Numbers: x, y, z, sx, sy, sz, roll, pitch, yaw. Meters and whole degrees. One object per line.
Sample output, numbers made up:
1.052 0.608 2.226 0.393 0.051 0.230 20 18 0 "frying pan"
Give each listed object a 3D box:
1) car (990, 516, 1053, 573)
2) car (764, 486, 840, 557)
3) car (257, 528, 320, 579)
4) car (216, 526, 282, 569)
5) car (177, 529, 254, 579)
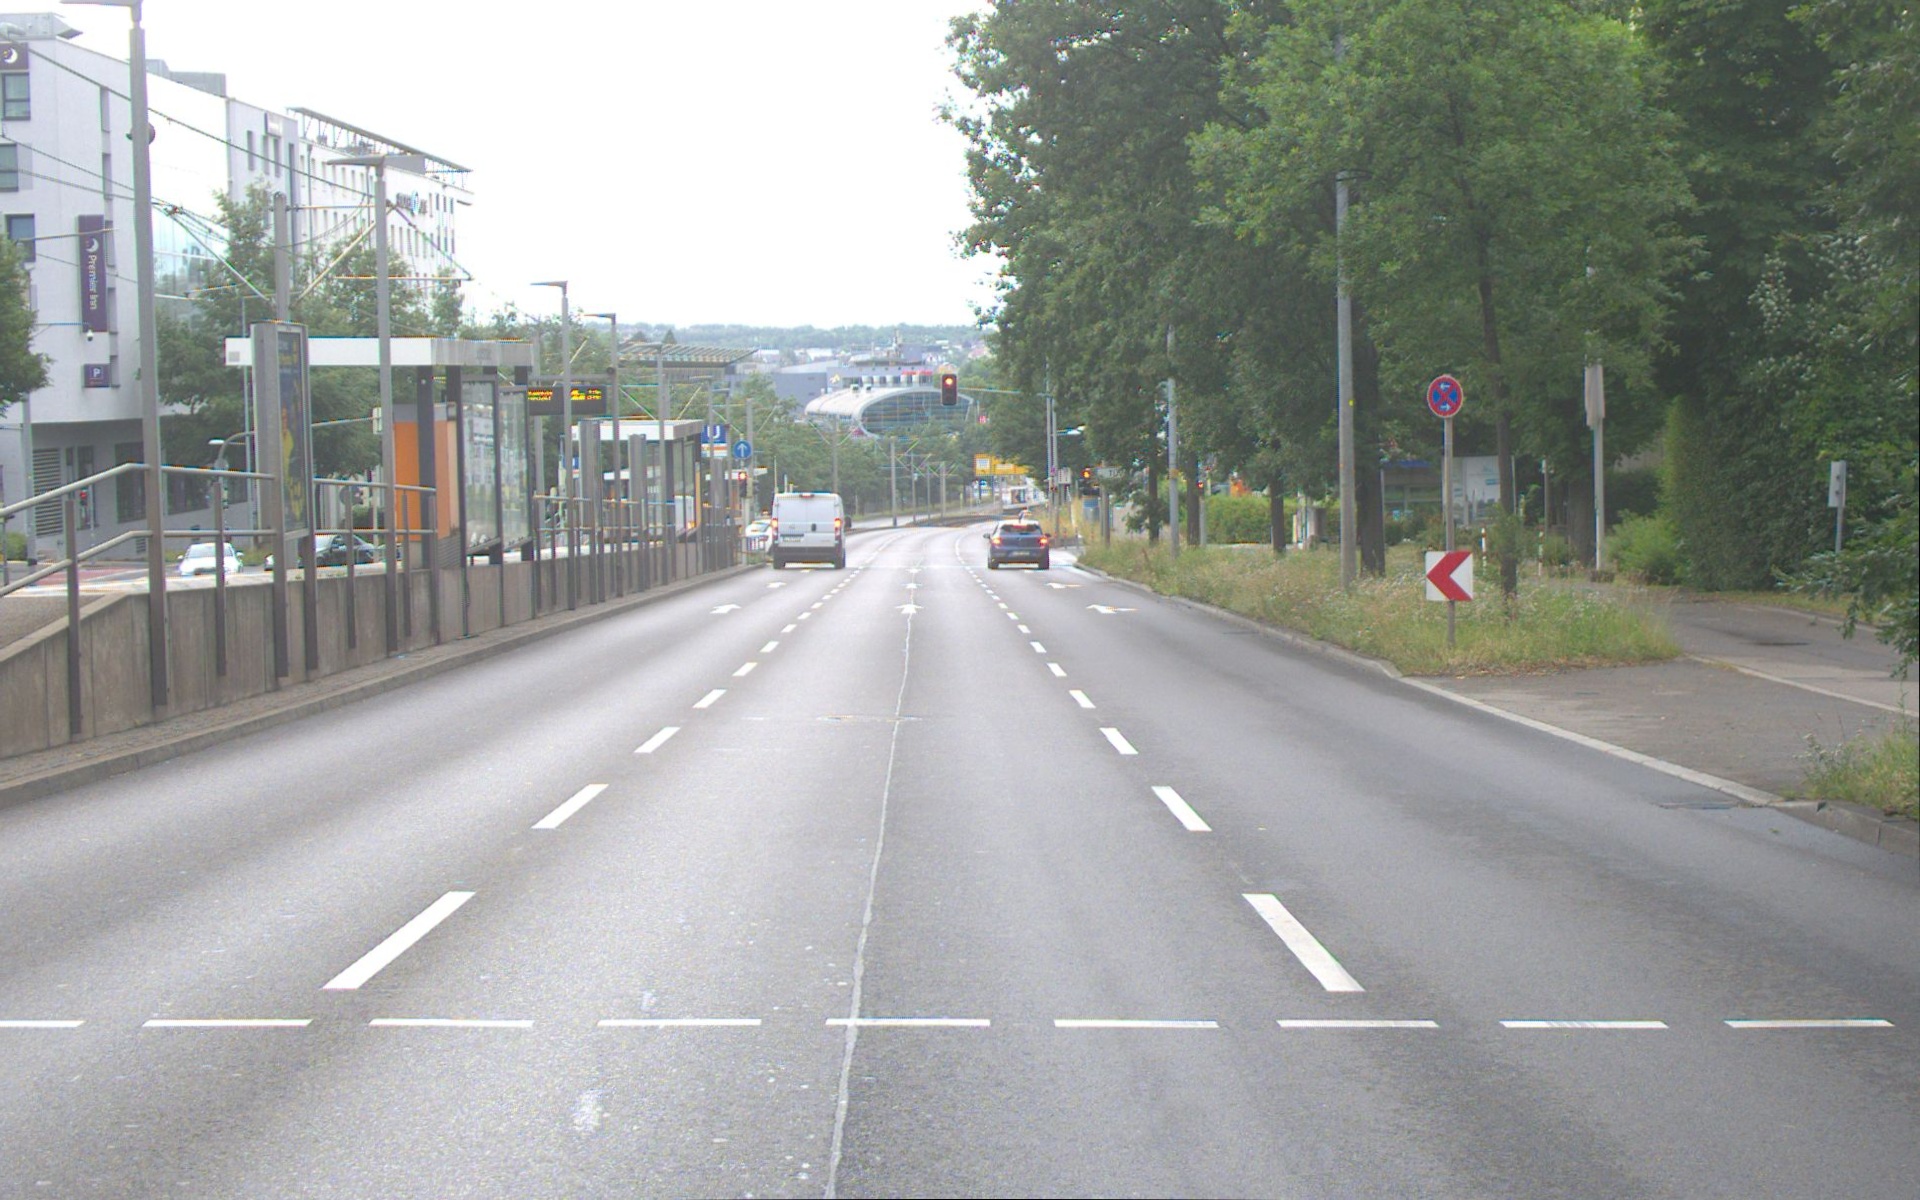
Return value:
1.825 -1.674 102.785 1.774 1.685 3.846 0 1 -1 "car"
-4.688 -2.341 102.390 2.093 2.046 4.607 0 1 -1 "car"
-20.209 -1.398 103.425 1.650 1.431 3.881 -3 1 -13 "car"
-23.252 -1.726 112.476 1.567 1.374 3.519 0 2 -2 "car"
-23.044 -1.442 106.499 1.650 1.431 3.880 -3 1 -3 "car"
